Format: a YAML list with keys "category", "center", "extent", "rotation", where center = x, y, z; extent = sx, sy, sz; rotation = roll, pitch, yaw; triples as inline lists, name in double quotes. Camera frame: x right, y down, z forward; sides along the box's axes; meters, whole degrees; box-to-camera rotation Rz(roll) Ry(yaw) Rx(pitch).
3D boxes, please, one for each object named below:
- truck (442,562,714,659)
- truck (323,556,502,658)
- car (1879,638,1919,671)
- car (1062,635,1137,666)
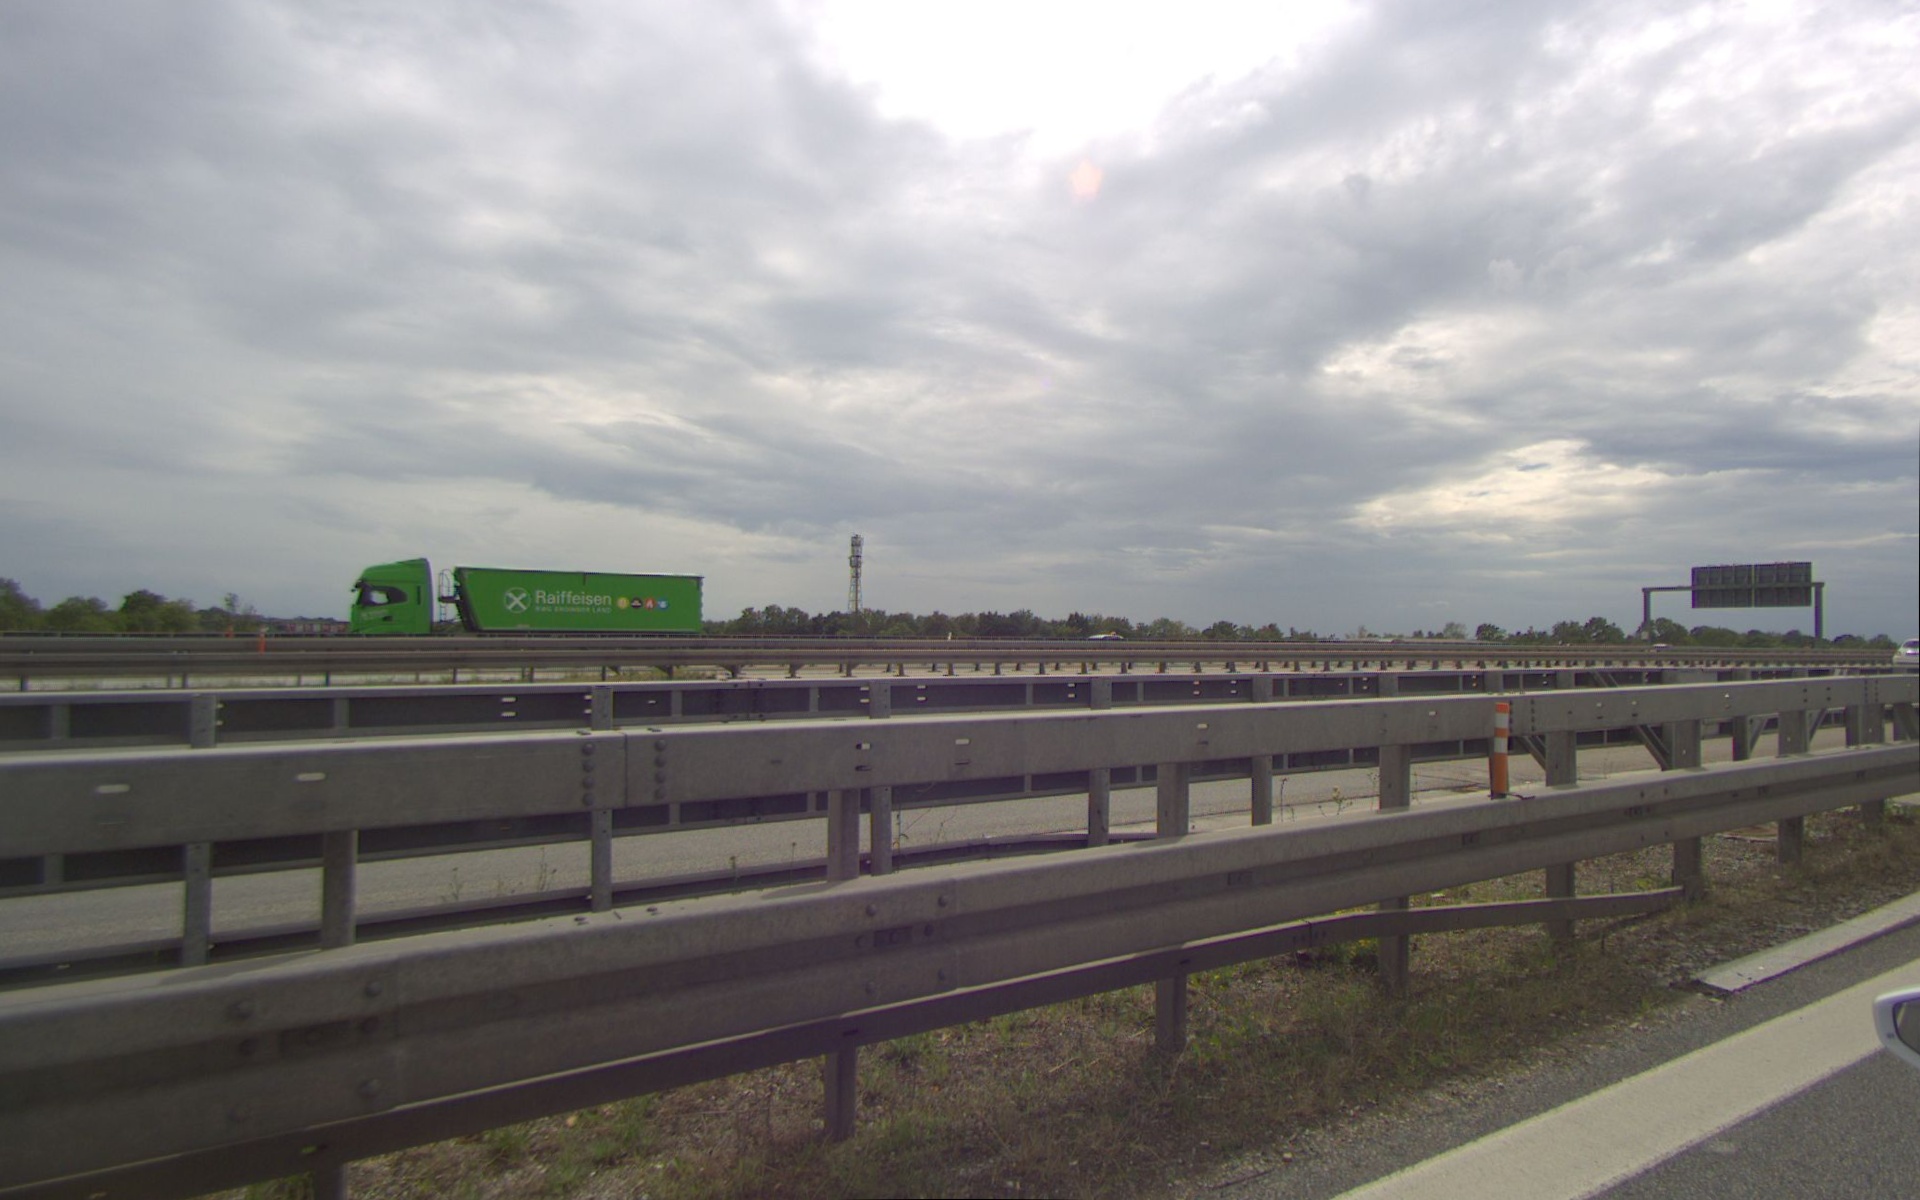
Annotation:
- category: "truck"
  center: [-15.856, 0.529, 42.199]
  extent: [10.316, 3.683, 2.998]
  rotation: [2, 0, -31]
- category: "truck"
  center: [-21.155, 0.339, 38.986]
  extent: [5.826, 3.657, 3.026]
  rotation: [2, -1, -31]
- category: "car"
  center: [44.846, 2.538, 46.802]
  extent: [3.951, 1.438, 1.790]
  rotation: [2, 0, -29]
- category: "car"
  center: [7.838, 2.844, 56.293]
  extent: [3.952, 1.650, 1.722]
  rotation: [2, -1, -29]
